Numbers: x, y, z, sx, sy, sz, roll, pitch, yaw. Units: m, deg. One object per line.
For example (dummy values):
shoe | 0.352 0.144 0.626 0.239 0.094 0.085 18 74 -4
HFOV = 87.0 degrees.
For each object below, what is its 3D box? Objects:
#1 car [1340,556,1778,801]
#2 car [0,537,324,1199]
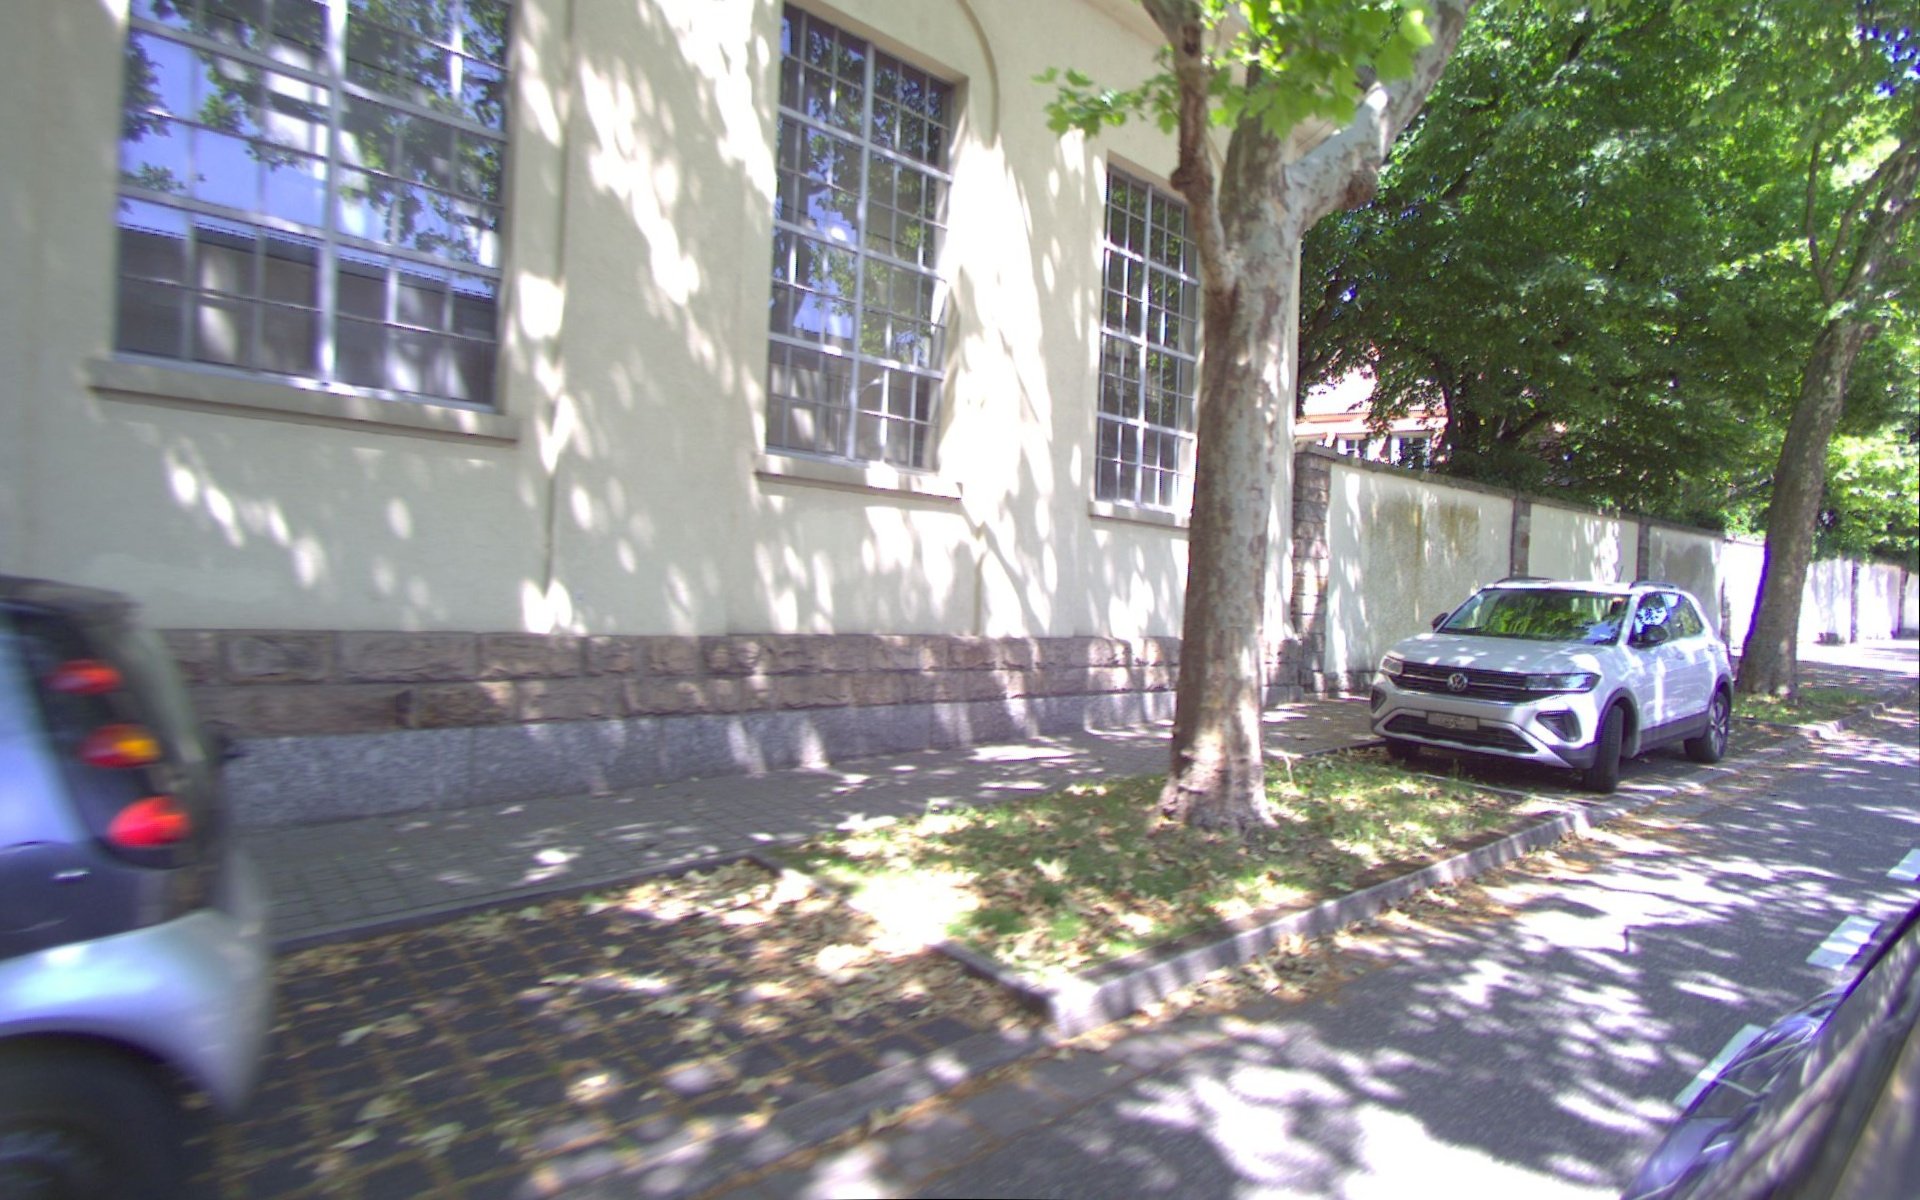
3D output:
car | 5.413 0.529 8.859 4.694 1.576 1.746 1 3 -40
car | -3.486 0.587 1.273 4.355 1.457 1.625 0 3 -41
